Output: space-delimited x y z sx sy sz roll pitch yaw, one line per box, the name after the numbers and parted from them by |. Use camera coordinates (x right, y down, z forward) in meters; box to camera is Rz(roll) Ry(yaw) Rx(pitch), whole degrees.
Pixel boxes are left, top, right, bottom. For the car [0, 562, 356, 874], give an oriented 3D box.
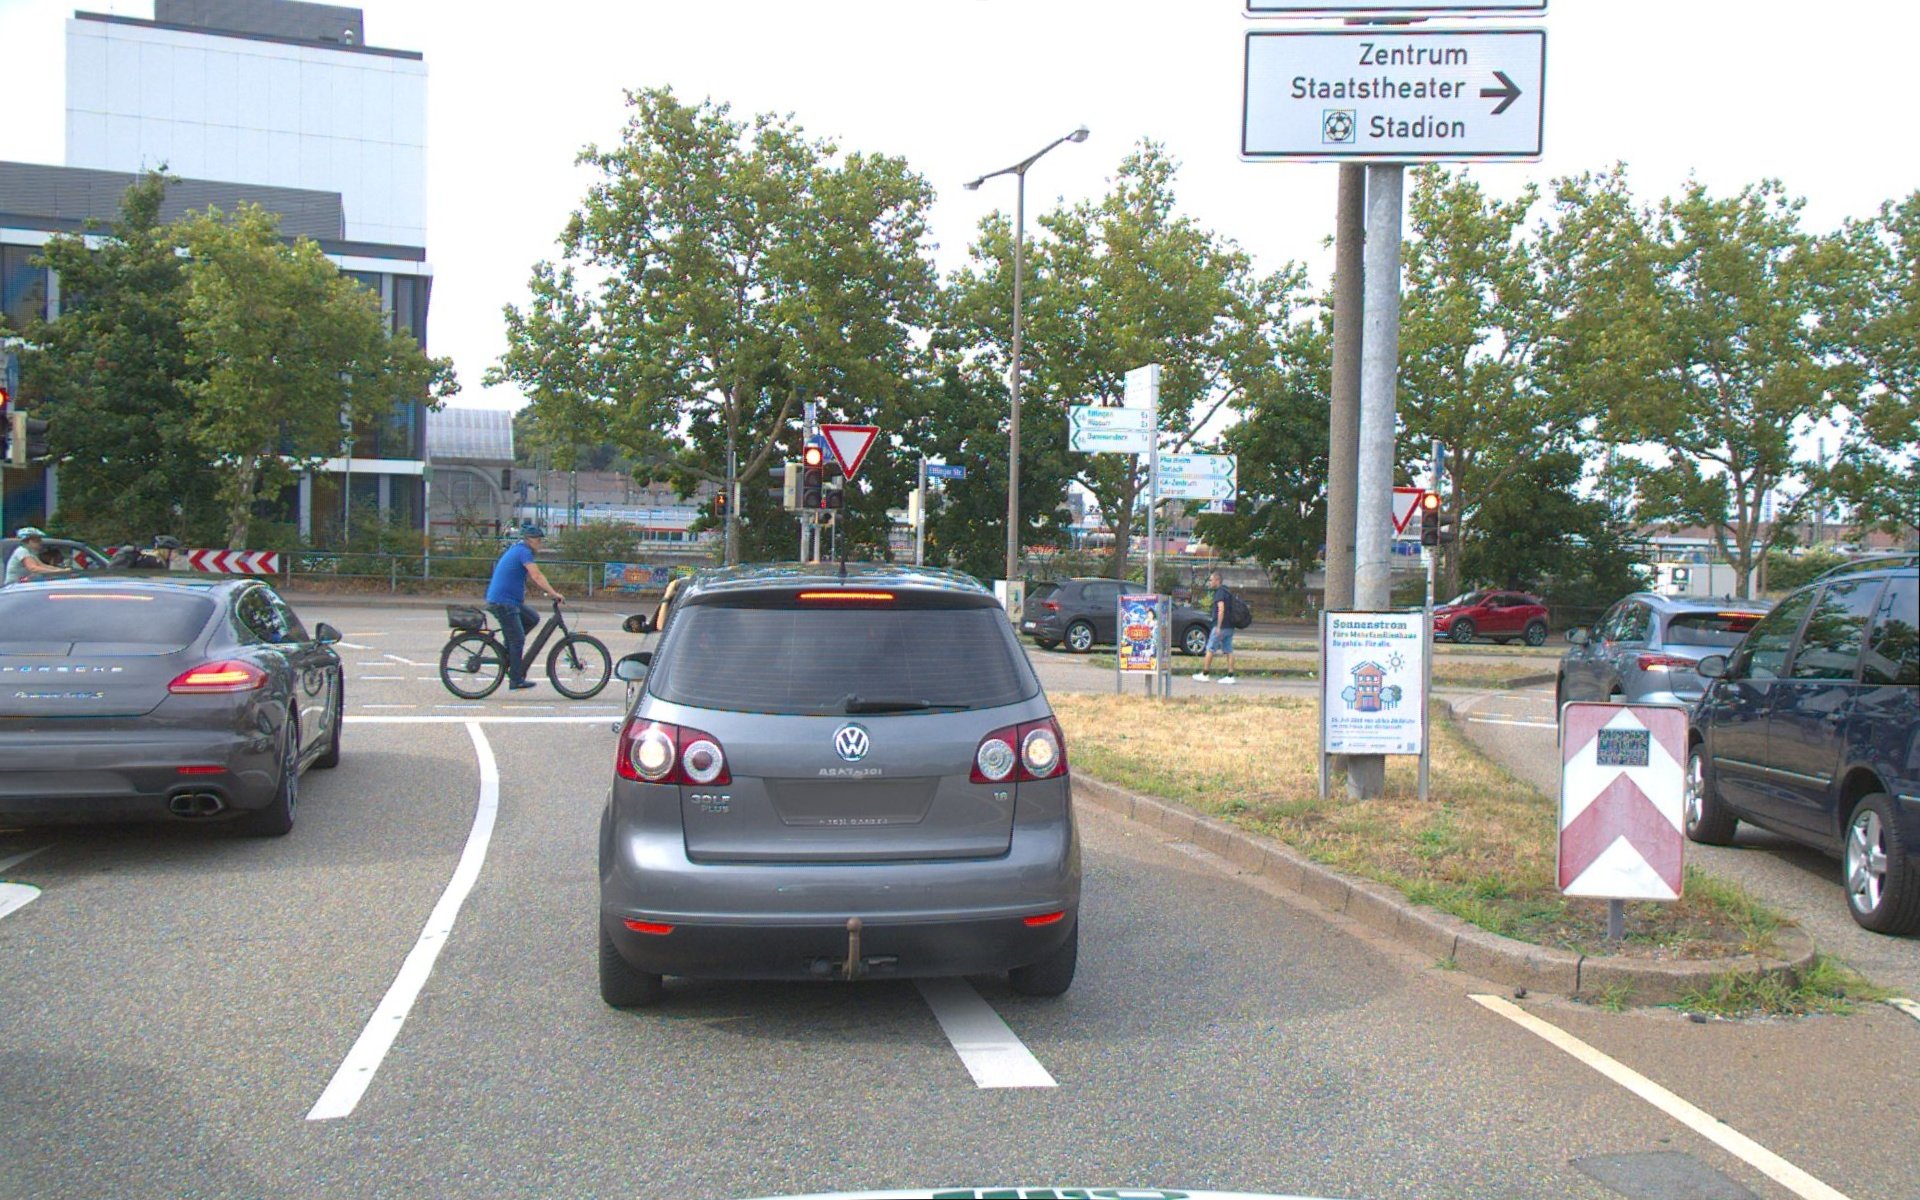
-4.851 0.517 10.114 1.789 1.438 4.756 1 1 -16 | car

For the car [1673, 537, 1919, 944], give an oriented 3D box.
5.261 0.650 8.685 1.713 1.754 4.141 3 0 9 | car

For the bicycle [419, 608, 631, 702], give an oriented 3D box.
-4.764 0.588 18.104 2.195 0.969 0.807 1 1 -20 | bicycle

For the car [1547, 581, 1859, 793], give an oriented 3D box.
6.733 0.700 15.444 1.655 1.613 4.160 3 0 11 | car

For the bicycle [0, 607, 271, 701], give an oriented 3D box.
-8.524 0.542 17.103 2.550 0.905 0.699 1 1 -25 | bicycle

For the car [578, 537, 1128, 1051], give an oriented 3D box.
-0.610 0.583 7.213 1.709 1.573 4.074 1 0 -9 | car

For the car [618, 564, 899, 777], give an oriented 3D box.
-1.839 0.480 13.912 1.713 1.508 4.064 1 1 -16 | car

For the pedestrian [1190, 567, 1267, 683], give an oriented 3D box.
4.217 0.378 25.941 1.025 1.740 0.854 2 1 17 | pedestrian

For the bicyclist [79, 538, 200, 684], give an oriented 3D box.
-8.473 0.102 17.115 1.100 1.461 0.642 0 2 -26 | bicyclist

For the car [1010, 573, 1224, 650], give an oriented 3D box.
3.176 0.234 33.519 3.996 1.476 1.693 1 1 -20 | car

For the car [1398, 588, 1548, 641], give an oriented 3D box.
14.739 0.411 47.535 3.894 1.473 1.692 1 1 -21 | car

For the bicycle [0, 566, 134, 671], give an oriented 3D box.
-10.978 0.216 19.817 1.874 1.231 0.639 1 1 -22 | bicycle

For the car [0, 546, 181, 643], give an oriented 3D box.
-13.758 -0.093 25.906 2.672 1.447 1.490 1 1 -22 | car

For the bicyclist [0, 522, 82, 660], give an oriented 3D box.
-10.990 -0.112 19.791 0.768 1.608 0.651 1 1 -22 | bicyclist

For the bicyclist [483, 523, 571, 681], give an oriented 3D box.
-4.746 0.016 18.101 0.867 1.685 0.807 1 1 -19 | bicyclist

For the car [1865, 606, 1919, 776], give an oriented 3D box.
10.219 0.940 15.535 1.713 1.671 4.141 3 0 10 | car
